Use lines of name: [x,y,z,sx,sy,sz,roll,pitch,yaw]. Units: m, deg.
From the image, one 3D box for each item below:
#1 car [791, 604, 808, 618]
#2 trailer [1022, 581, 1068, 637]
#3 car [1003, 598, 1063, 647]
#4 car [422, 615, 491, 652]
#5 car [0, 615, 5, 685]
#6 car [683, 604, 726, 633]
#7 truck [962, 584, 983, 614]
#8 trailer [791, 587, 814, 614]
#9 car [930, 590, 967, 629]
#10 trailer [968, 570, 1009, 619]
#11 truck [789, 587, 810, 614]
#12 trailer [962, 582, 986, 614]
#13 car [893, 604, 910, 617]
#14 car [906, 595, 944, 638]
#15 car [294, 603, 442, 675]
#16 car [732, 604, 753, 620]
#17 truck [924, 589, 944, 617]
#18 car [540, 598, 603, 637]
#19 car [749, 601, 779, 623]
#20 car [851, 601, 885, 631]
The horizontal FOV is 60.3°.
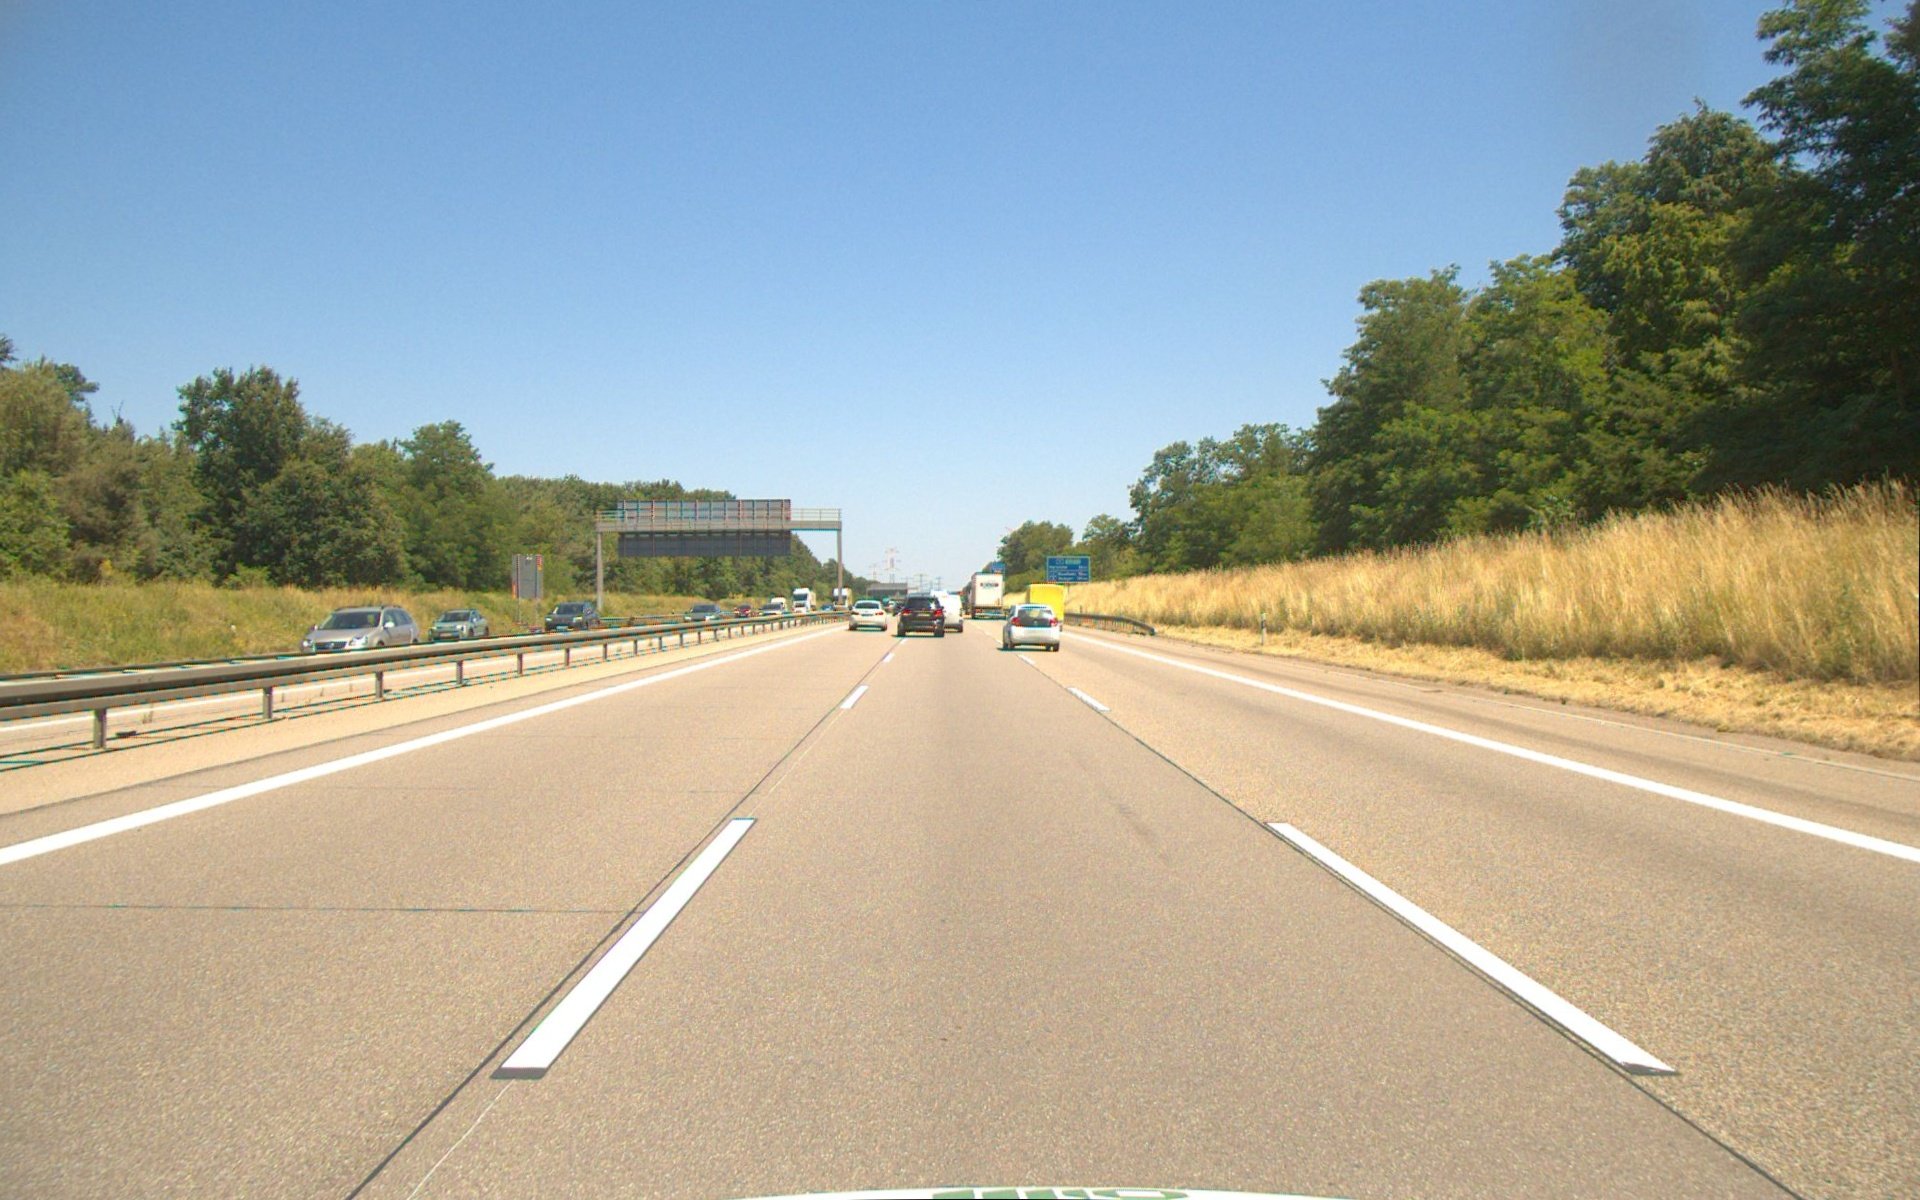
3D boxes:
car: [-18.822,1.327,193.756,1.613,1.525,4.559,-3,0,-2]
trailer: [3.706,0.394,72.249,1.668,2.330,3.838,1,0,-2]
car: [2.304,0.700,53.098,1.673,1.521,4.023,1,0,-1]
car: [-21.769,1.426,71.671,1.637,1.434,4.596,-3,0,-2]
car: [-20.429,1.067,31.377,1.621,1.435,5.175,-3,0,-1]
car: [-13.849,1.005,89.869,1.664,1.454,4.572,-3,0,-2]
truck: [1.631,-0.117,215.039,2.628,3.904,4.443,1,-1,-1]
trailer: [-24.633,0.043,259.420,2.572,4.017,11.155,-3,0,-1]
car: [-0.616,0.489,82.517,1.777,1.859,5.109,0,-1,-1]
trailer: [2.580,-0.457,153.092,3.219,4.293,13.561,1,-1,-1]
truck: [-24.564,0.059,253.176,2.572,4.017,6.481,-3,0,-1]
trailer: [1.747,-0.154,209.195,2.628,3.904,12.006,1,-1,-1]
car: [-5.965,1.032,169.221,1.574,1.323,3.673,1,0,-1]
car: [-1.475,0.696,70.618,1.593,1.785,3.804,1,0,-1]
car: [-13.918,0.872,39.207,1.726,1.485,5.119,-3,0,-2]
car: [-23.379,1.247,178.059,1.613,1.618,4.611,-3,0,-1]
truck: [-2.774,0.368,176.454,2.018,2.965,7.001,0,-1,-1]
car: [-17.853,0.787,76.187,1.758,1.647,4.984,-3,0,-2]
car: [-15.036,0.904,126.995,1.758,1.500,4.985,-3,0,-1]
car: [-4.588,0.791,82.712,1.635,1.426,3.711,0,0,-2]
